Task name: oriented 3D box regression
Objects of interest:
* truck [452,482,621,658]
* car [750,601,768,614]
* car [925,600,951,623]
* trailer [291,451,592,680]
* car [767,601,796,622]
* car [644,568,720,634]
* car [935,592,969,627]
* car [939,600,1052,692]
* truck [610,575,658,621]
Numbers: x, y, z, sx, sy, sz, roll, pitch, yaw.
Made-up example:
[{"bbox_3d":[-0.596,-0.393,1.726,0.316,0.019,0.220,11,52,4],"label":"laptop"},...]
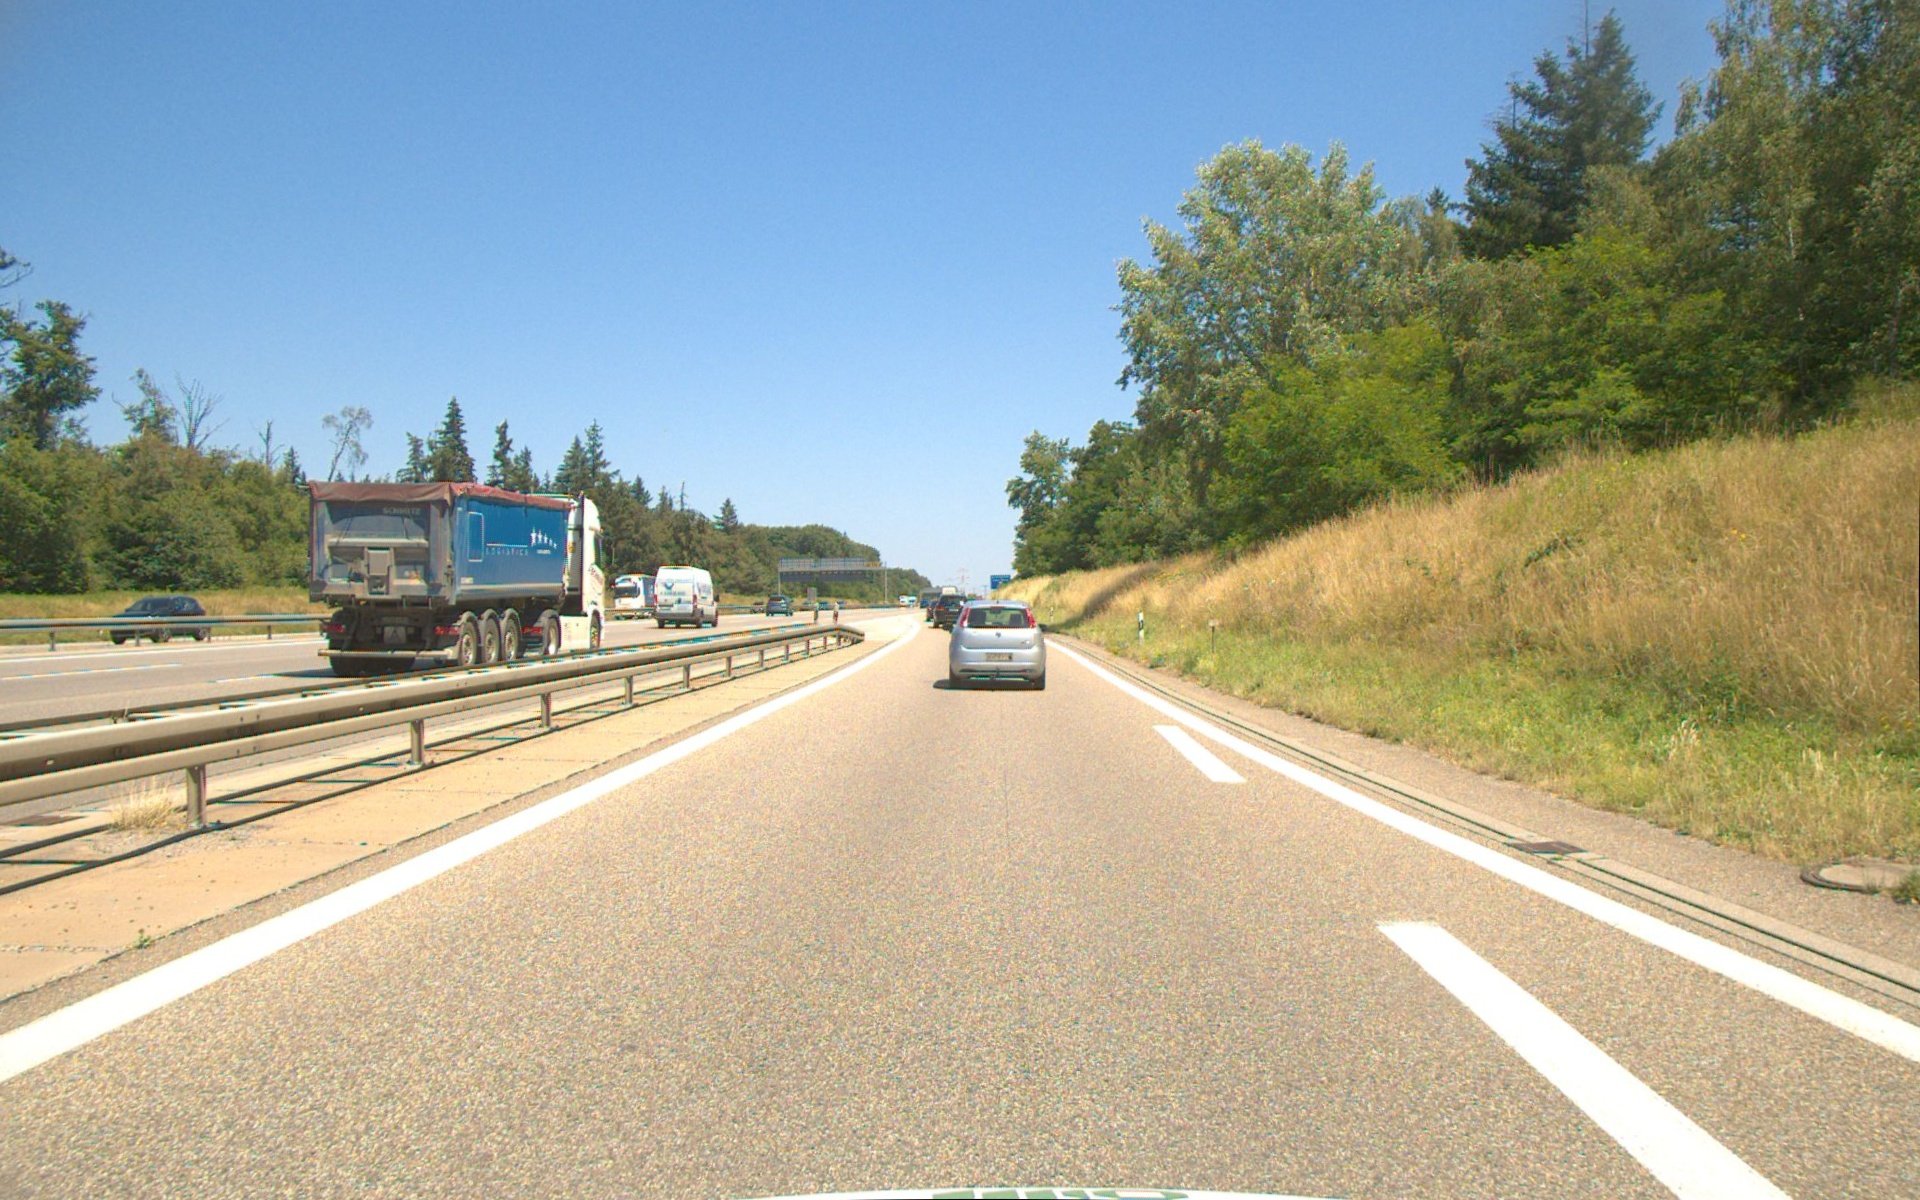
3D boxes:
[{"bbox_3d":[-9.776,-0.667,38.655,2.700,3.874,4.622,0,0,1],"label":"truck"},{"bbox_3d":[-25.632,0.969,211.118,1.953,1.703,3.999,0,-1,-1],"label":"car"},{"bbox_3d":[-1.507,0.801,112.636,1.672,1.534,3.396,0,-2,-2],"label":"car"},{"bbox_3d":[-9.880,-0.624,32.954,2.713,3.874,9.887,0,0,1],"label":"trailer"},{"bbox_3d":[-14.479,0.918,134.334,1.953,1.646,3.999,0,-1,-1],"label":"car"},{"bbox_3d":[-13.020,0.113,77.941,2.579,2.947,6.473,0,-1,-1],"label":"car"},{"bbox_3d":[-0.435,0.497,84.976,1.672,1.706,3.396,0,-2,-2],"label":"car"},{"bbox_3d":[0.566,0.754,28.884,1.673,1.508,3.394,0,0,-4],"label":"car"},{"bbox_3d":[-31.527,-0.139,160.271,2.532,4.199,9.324,0,-1,1],"label":"truck"}]
